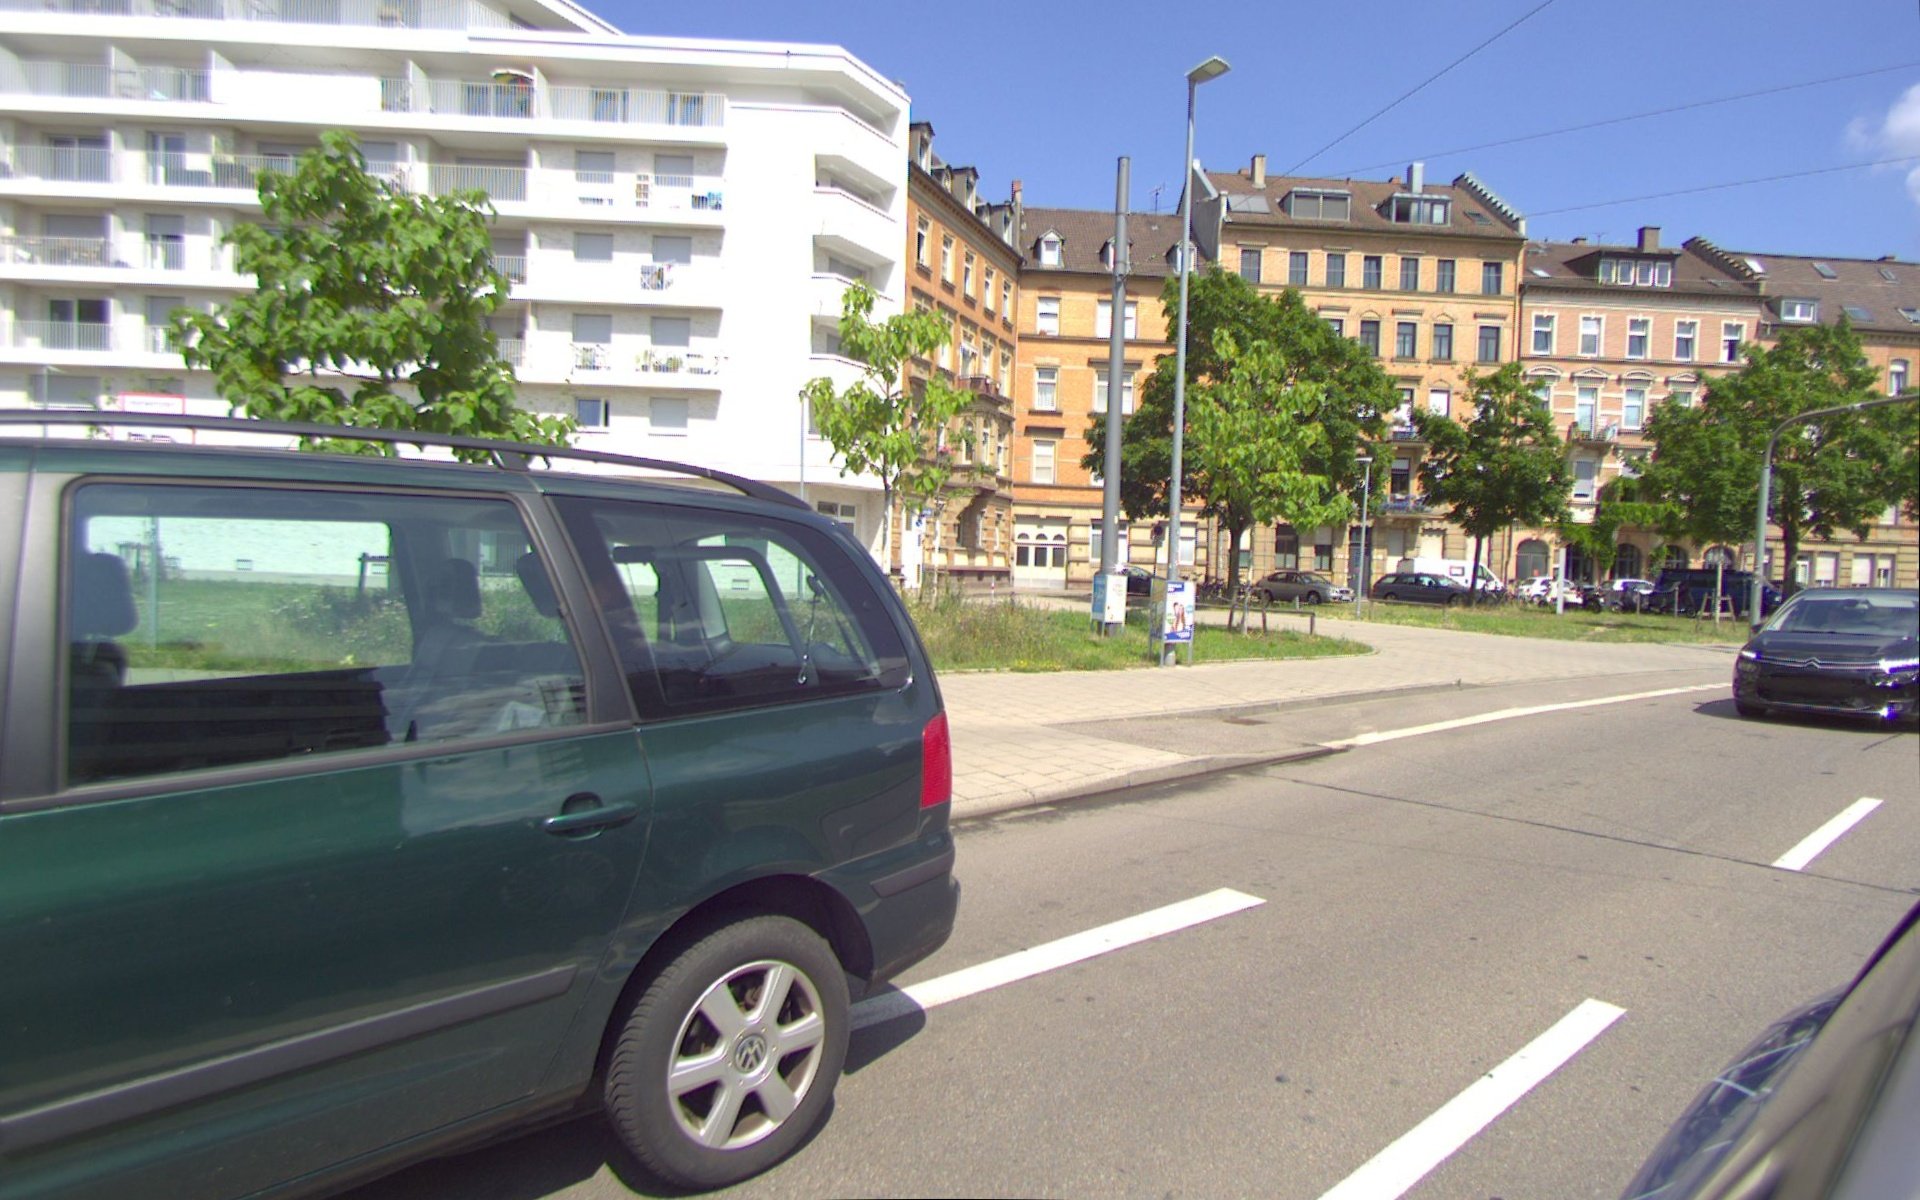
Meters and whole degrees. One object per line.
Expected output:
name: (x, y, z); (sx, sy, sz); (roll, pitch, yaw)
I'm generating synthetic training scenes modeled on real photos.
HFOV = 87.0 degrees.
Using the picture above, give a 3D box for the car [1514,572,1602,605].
car: (28.972, -0.571, 49.084); (3.287, 1.420, 1.569); (2, 2, 1)

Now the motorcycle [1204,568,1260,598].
motorcycle: (10.858, -0.705, 40.499); (0.796, 1.139, 2.396); (1, 1, -25)

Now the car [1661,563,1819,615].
car: (31.196, -0.488, 40.618); (1.879, 1.951, 4.633); (1, 1, -32)

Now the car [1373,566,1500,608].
car: (18.863, -0.545, 40.269); (1.769, 1.445, 4.265); (1, 2, -31)

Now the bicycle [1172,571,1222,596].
bicycle: (9.319, -0.663, 39.874); (0.532, 0.981, 2.396); (1, 1, -25)

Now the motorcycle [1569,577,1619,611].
motorcycle: (23.628, -0.236, 37.762); (0.627, 1.181, 1.791); (2, 2, -3)

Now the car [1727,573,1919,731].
car: (11.311, 0.543, 12.446); (4.110, 1.639, 1.877); (0, 2, -36)

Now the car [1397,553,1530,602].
car: (24.218, -1.079, 48.790); (5.290, 2.206, 2.118); (1, 1, -1)

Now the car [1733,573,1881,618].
car: (34.050, -0.222, 40.801); (1.878, 1.677, 4.181); (1, 1, -28)

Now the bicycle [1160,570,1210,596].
bicycle: (8.797, -0.671, 39.633); (0.532, 0.981, 2.396); (1, 1, -25)

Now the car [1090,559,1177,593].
car: (8.209, -1.138, 48.070); (3.779, 1.510, 1.665); (1, 1, -1)

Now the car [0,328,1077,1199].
car: (-2.093, 0.456, 2.172); (4.944, 1.778, 1.822); (0, 1, -42)

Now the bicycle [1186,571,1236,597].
bicycle: (9.937, -0.646, 40.163); (0.532, 0.968, 2.396); (1, 1, -25)

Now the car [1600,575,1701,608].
car: (33.596, -0.421, 49.292); (3.779, 1.510, 1.665); (1, 1, -1)

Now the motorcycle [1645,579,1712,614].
motorcycle: (26.305, -0.141, 37.071); (1.876, 1.181, 0.638); (2, 2, 11)

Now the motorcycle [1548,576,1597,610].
motorcycle: (22.813, -0.267, 37.730); (0.627, 1.181, 1.791); (2, 2, -3)

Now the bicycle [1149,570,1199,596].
bicycle: (8.295, -0.679, 39.382); (0.532, 0.981, 2.396); (1, 1, -25)

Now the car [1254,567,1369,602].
car: (13.642, -0.620, 39.532); (1.825, 1.260, 4.172); (1, 1, -26)

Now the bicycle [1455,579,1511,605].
bicycle: (19.050, -0.288, 36.887); (1.784, 0.912, 0.544); (1, 1, -5)
